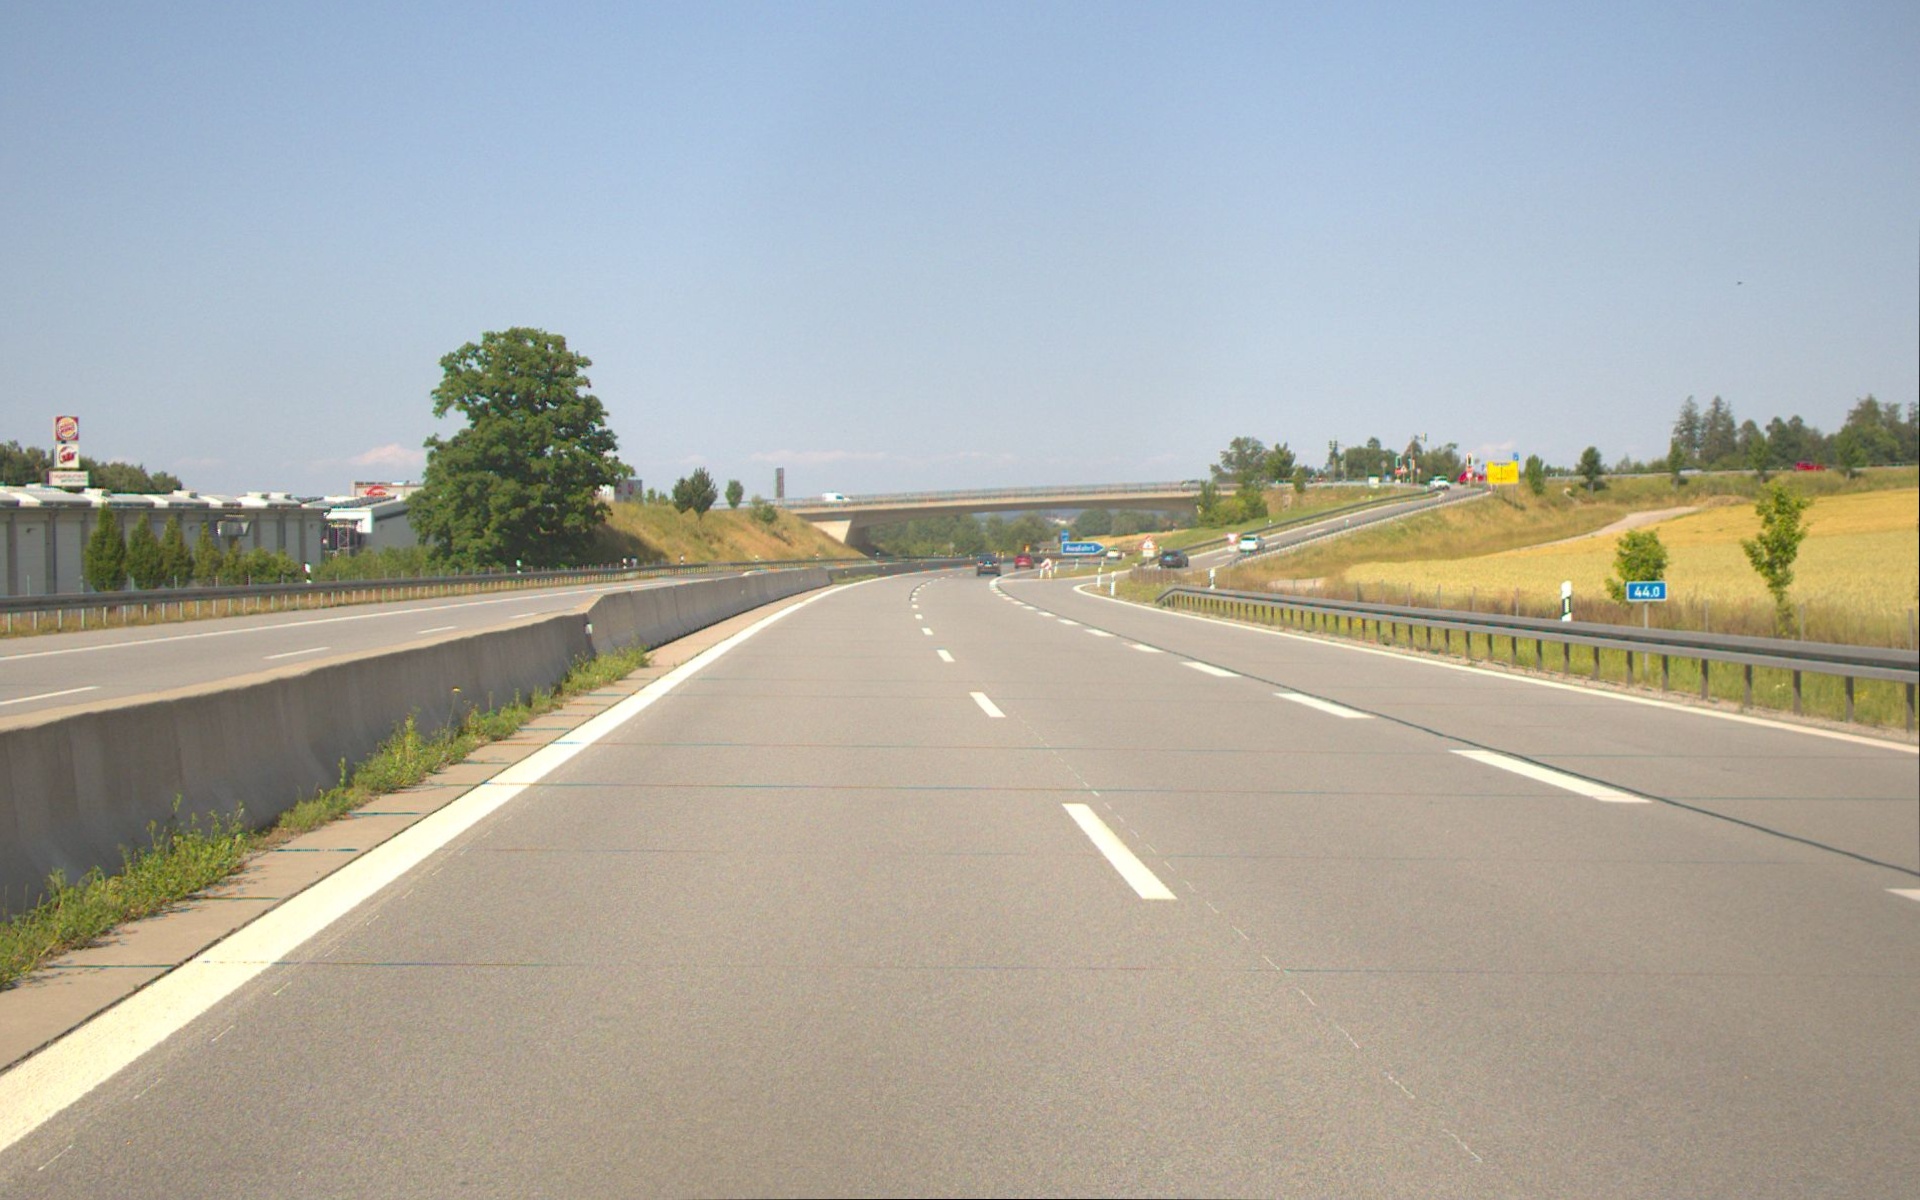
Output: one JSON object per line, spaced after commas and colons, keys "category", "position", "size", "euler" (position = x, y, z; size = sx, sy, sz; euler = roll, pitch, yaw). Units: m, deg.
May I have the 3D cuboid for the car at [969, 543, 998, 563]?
{"category": "car", "position": [1.781, -3.530, 257.426], "size": [1.993, 1.415, 4.000], "euler": [-1, 1, 2]}
